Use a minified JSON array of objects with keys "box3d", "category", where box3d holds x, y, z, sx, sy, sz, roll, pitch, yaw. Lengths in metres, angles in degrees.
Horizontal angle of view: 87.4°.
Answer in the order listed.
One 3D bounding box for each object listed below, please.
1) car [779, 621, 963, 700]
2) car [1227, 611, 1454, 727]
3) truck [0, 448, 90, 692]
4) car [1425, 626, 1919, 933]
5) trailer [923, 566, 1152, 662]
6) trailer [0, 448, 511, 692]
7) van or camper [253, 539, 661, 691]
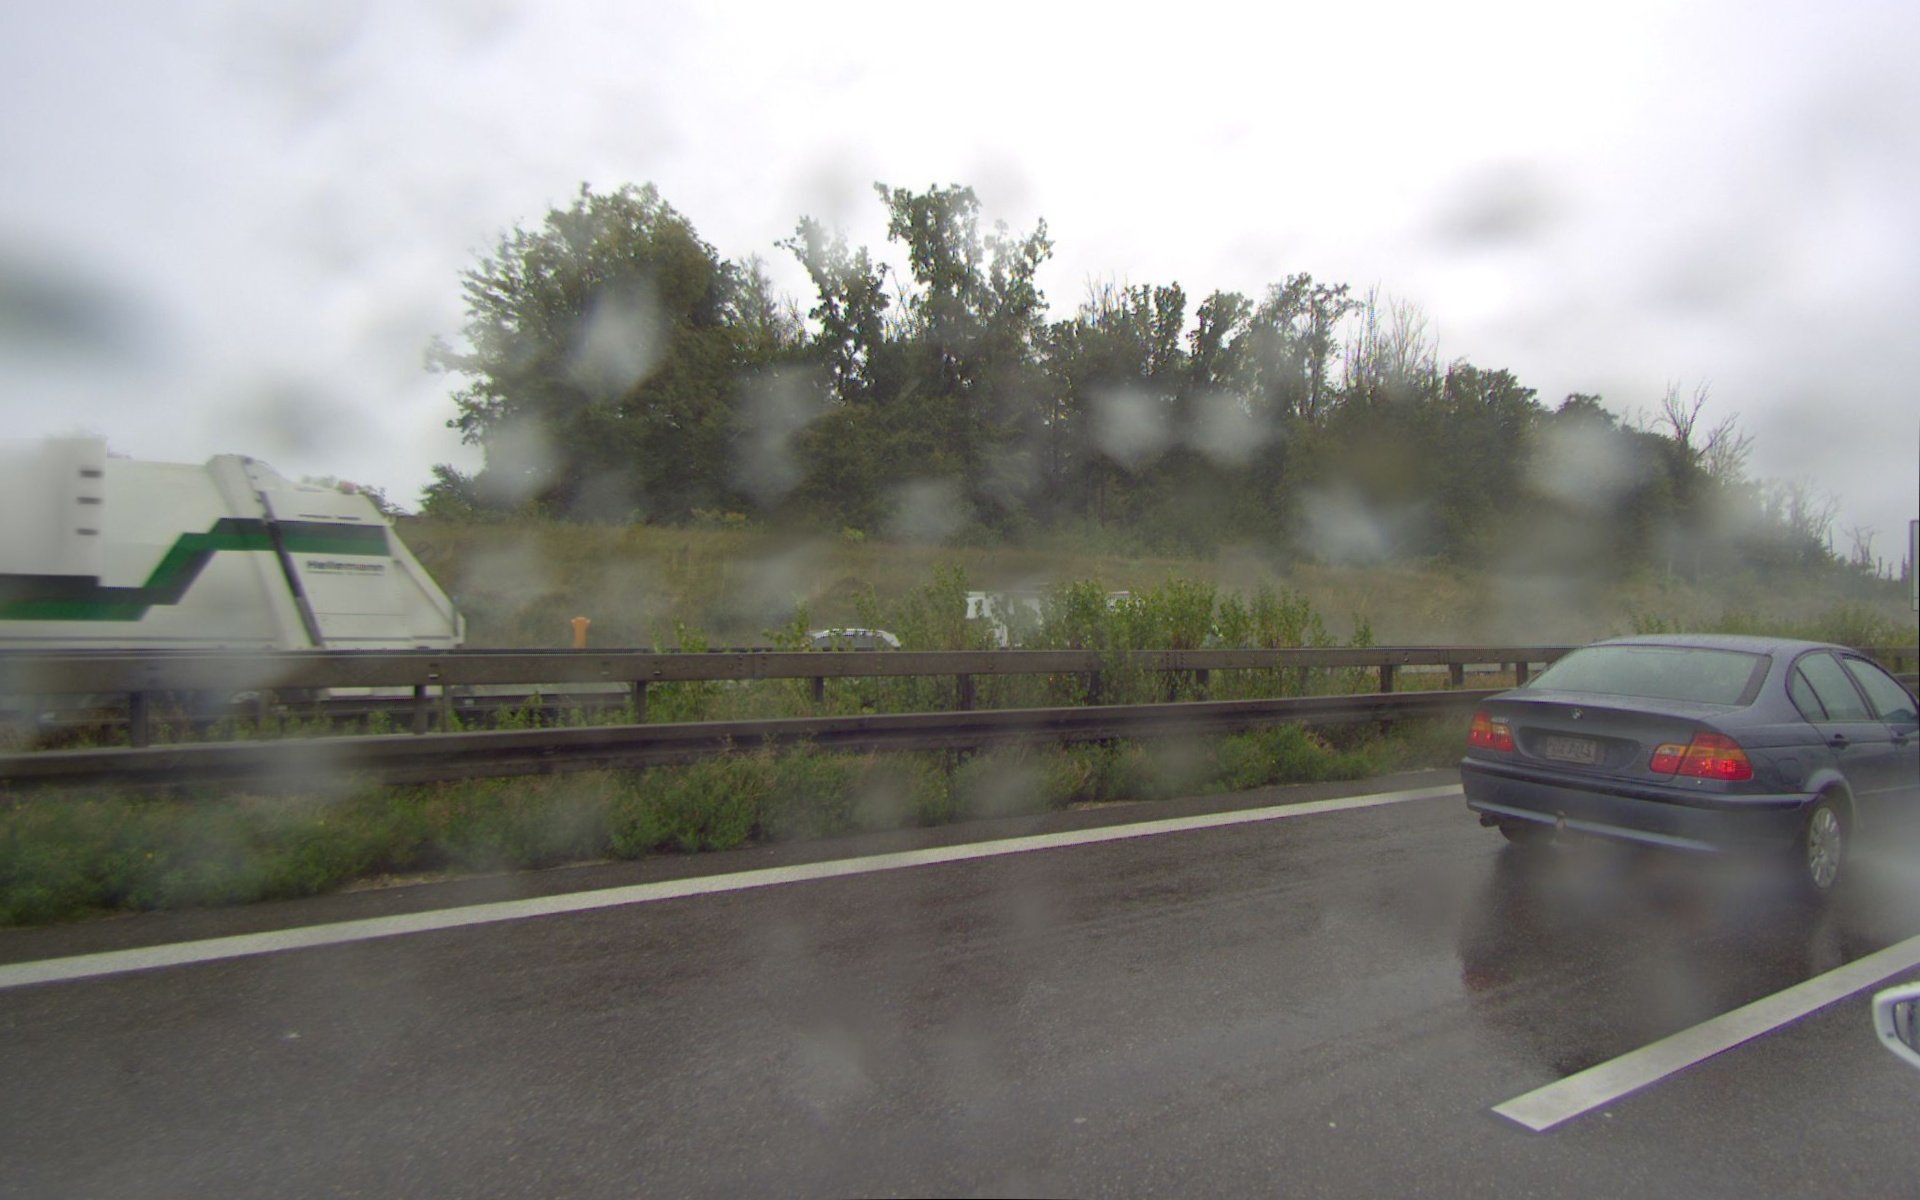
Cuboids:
[{"box3d":[-1.915,1.252,21.795,3.618,1.558,1.667,1,0,-30],"category":"car"},{"box3d":[6.657,1.234,17.462,3.958,1.750,1.641,5,-4,-33],"category":"car"},{"box3d":[-13.191,-0.387,11.394,4.474,2.754,2.471,3,-3,-30],"category":"truck"},{"box3d":[5.105,0.918,6.619,4.183,1.418,1.709,1,-1,-32],"category":"car"},{"box3d":[1.918,0.427,24.198,5.290,2.040,2.082,3,-3,-31],"category":"trailer"},{"box3d":[-10.018,-0.228,13.228,7.237,2.754,2.470,3,-3,-30],"category":"trailer"},{"box3d":[-5.538,0.157,11.294,3.808,1.431,1.983,1,0,-32],"category":"van or camper"}]
